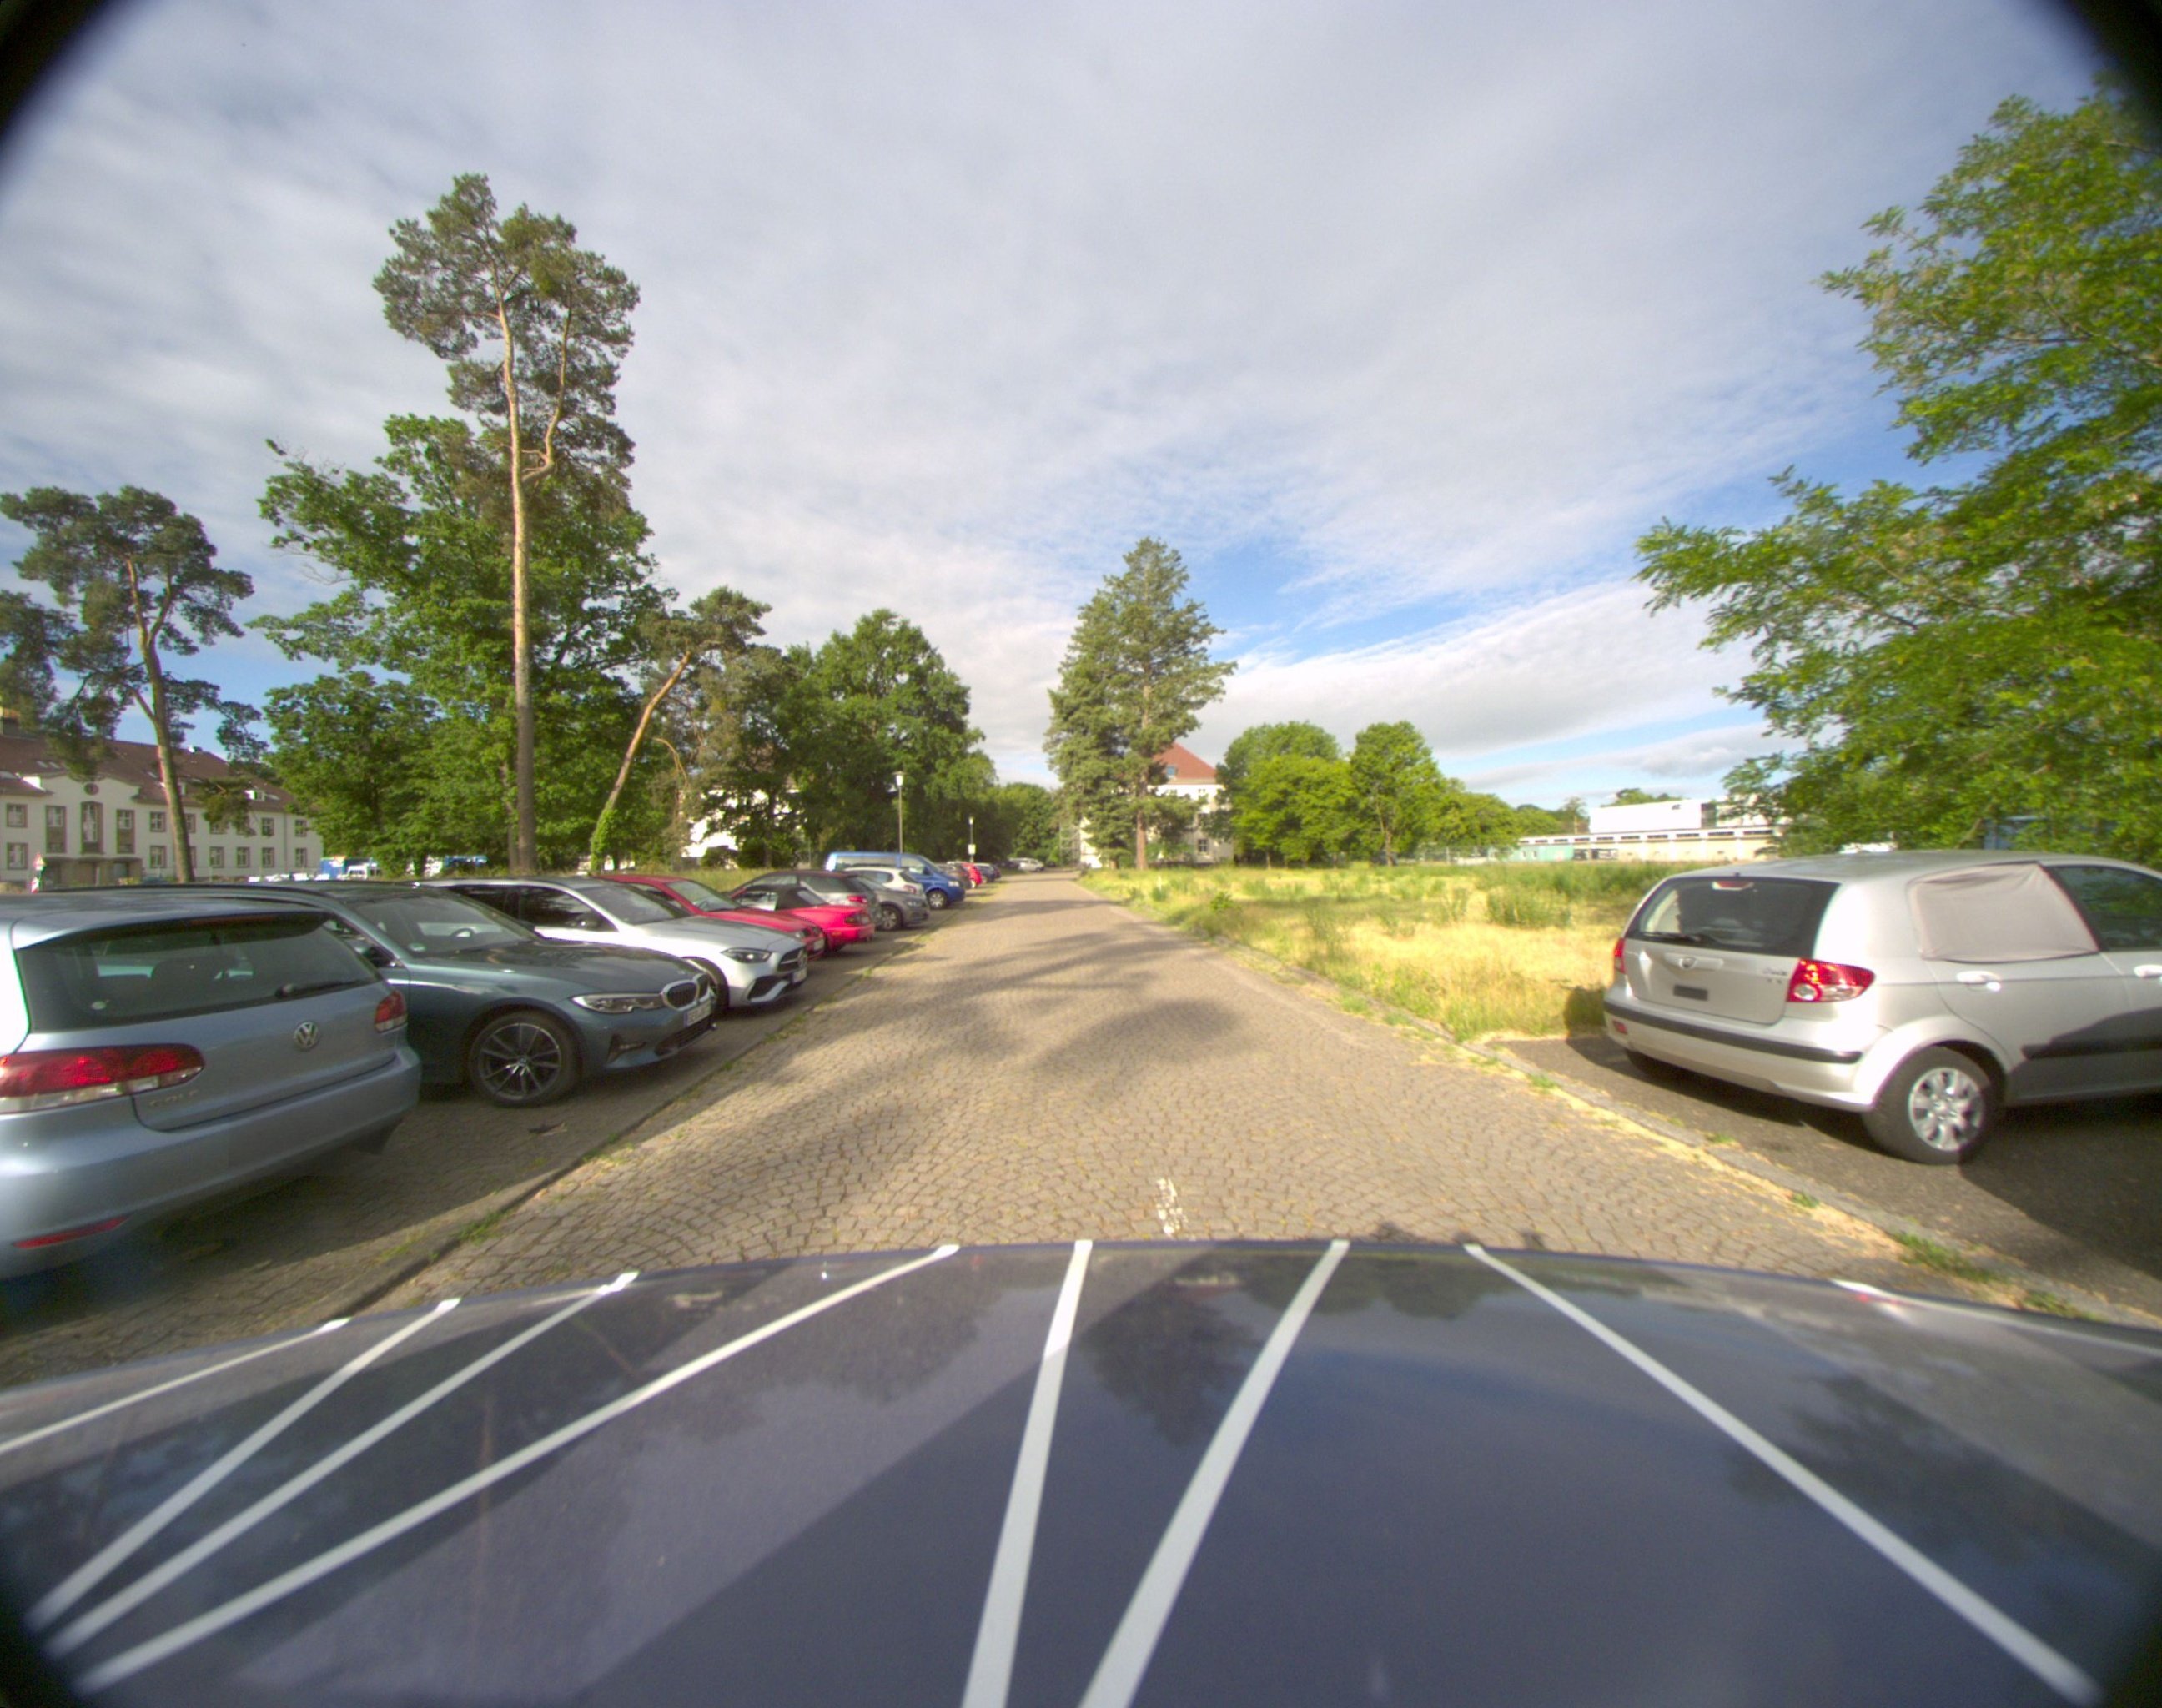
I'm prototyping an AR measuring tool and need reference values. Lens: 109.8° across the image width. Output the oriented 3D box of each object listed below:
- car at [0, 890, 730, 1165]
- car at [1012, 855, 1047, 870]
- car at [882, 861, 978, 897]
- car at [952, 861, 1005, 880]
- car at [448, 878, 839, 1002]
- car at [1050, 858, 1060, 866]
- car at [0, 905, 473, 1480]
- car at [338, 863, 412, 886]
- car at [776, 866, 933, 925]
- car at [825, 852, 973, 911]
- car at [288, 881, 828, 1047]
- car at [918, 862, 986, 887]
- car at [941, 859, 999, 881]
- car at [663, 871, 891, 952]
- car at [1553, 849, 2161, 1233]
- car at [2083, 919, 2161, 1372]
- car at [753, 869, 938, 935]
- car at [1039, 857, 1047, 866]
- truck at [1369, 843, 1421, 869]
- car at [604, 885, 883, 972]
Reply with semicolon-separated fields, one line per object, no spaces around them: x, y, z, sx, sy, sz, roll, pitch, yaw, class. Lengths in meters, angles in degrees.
-5.254;1.071;5.519;4.521;1.465;1.894;0;1;-8;car
-7.427;1.283;109.824;5.080;2.029;1.999;-1;0;-4;car
-7.007;1.148;35.525;4.203;1.580;1.877;0;1;-5;car
-8.135;1.292;60.743;4.036;1.442;1.783;0;1;-2;car
-5.804;1.108;10.542;4.353;1.465;1.739;0;1;-4;car
-6.038;1.786;176.345;1.999;1.762;4.107;-1;1;-4;car
-5.439;1.039;2.877;4.557;1.496;1.932;0;1;-5;car
-73.196;2.078;78.925;2.167;2.286;5.961;-1;0;-1;car
-6.242;1.135;21.330;3.885;1.521;1.807;0;1;-3;car
-6.277;0.935;26.687;4.747;1.917;1.991;1;1;-4;car
-5.321;1.087;8.298;4.519;1.465;1.849;0;1;-4;car
-7.742;1.225;45.760;3.888;1.464;1.686;0;1;-5;car
-8.141;1.174;56.036;4.137;1.560;1.746;0;1;-4;car
-6.071;1.123;15.550;3.962;1.486;1.771;0;1;-3;car
5.177;0.819;4.435;3.694;1.465;1.848;-4;1;-5;car
5.384;0.833;1.788;3.840;1.421;1.858;-4;1;-4;car
-5.615;1.126;18.507;3.962;1.459;1.830;0;1;-3;car
-8.749;1.776;175.951;1.875;1.888;3.998;-1;1;-4;car
32.704;0.238;79.455;2.418;2.571;6.957;-1;0;-1;truck
-5.562;1.217;12.940;3.962;1.253;1.726;0;1;-3;car
